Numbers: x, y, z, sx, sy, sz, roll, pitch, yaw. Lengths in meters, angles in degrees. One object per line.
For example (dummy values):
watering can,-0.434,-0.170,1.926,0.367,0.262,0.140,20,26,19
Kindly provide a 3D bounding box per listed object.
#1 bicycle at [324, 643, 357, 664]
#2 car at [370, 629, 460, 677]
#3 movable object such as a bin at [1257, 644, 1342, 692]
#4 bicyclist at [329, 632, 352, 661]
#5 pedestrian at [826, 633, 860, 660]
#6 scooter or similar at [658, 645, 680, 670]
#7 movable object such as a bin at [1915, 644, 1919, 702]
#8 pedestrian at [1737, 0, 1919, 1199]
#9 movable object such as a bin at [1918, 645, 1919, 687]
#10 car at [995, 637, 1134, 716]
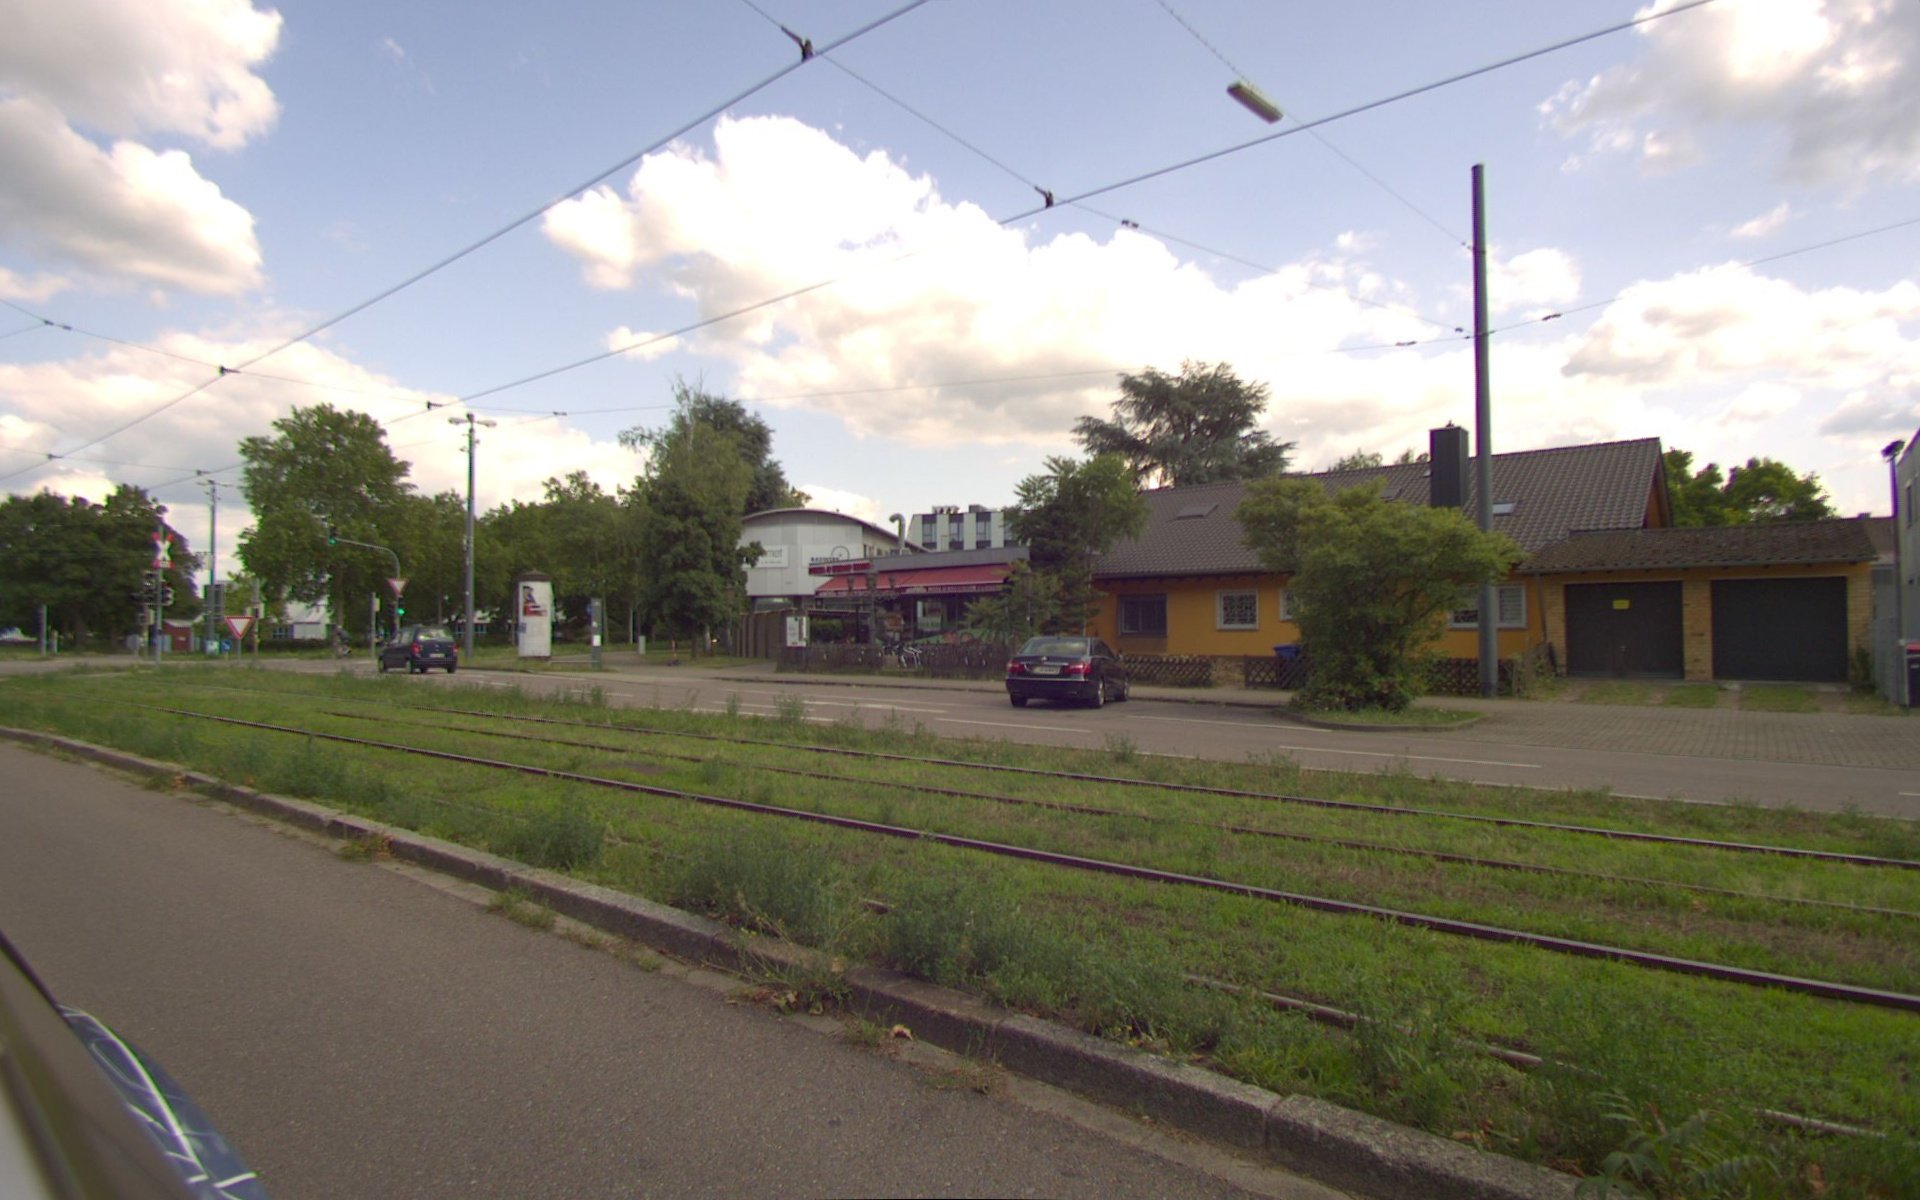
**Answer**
bicycle,-33.412,2.885,54.571,2.064,1.068,0.795,-4,-3,35
car,-19.436,1.836,36.040,3.495,1.639,1.759,-2,-2,42
movable object such as a bin,8.160,1.610,24.316,1.616,1.109,1.242,-2,-3,39
bicyclist,-33.391,2.505,54.558,0.830,1.481,0.795,-4,-3,35
pedestrian,-5.020,1.990,43.535,0.931,1.155,1.141,-2,-3,41
scooter or similar,-12.187,2.388,42.335,0.421,1.041,1.225,1,-3,-40
movable object such as a bin,17.684,1.331,18.333,0.479,1.050,0.488,-3,-2,40
pedestrian,1.064,0.397,0.436,0.836,1.699,0.808,0,-1,-22
movable object such as a bin,17.331,1.336,17.907,0.481,1.050,0.499,-3,-2,40
car,2.321,1.508,21.198,1.869,1.418,4.620,0,-2,19
